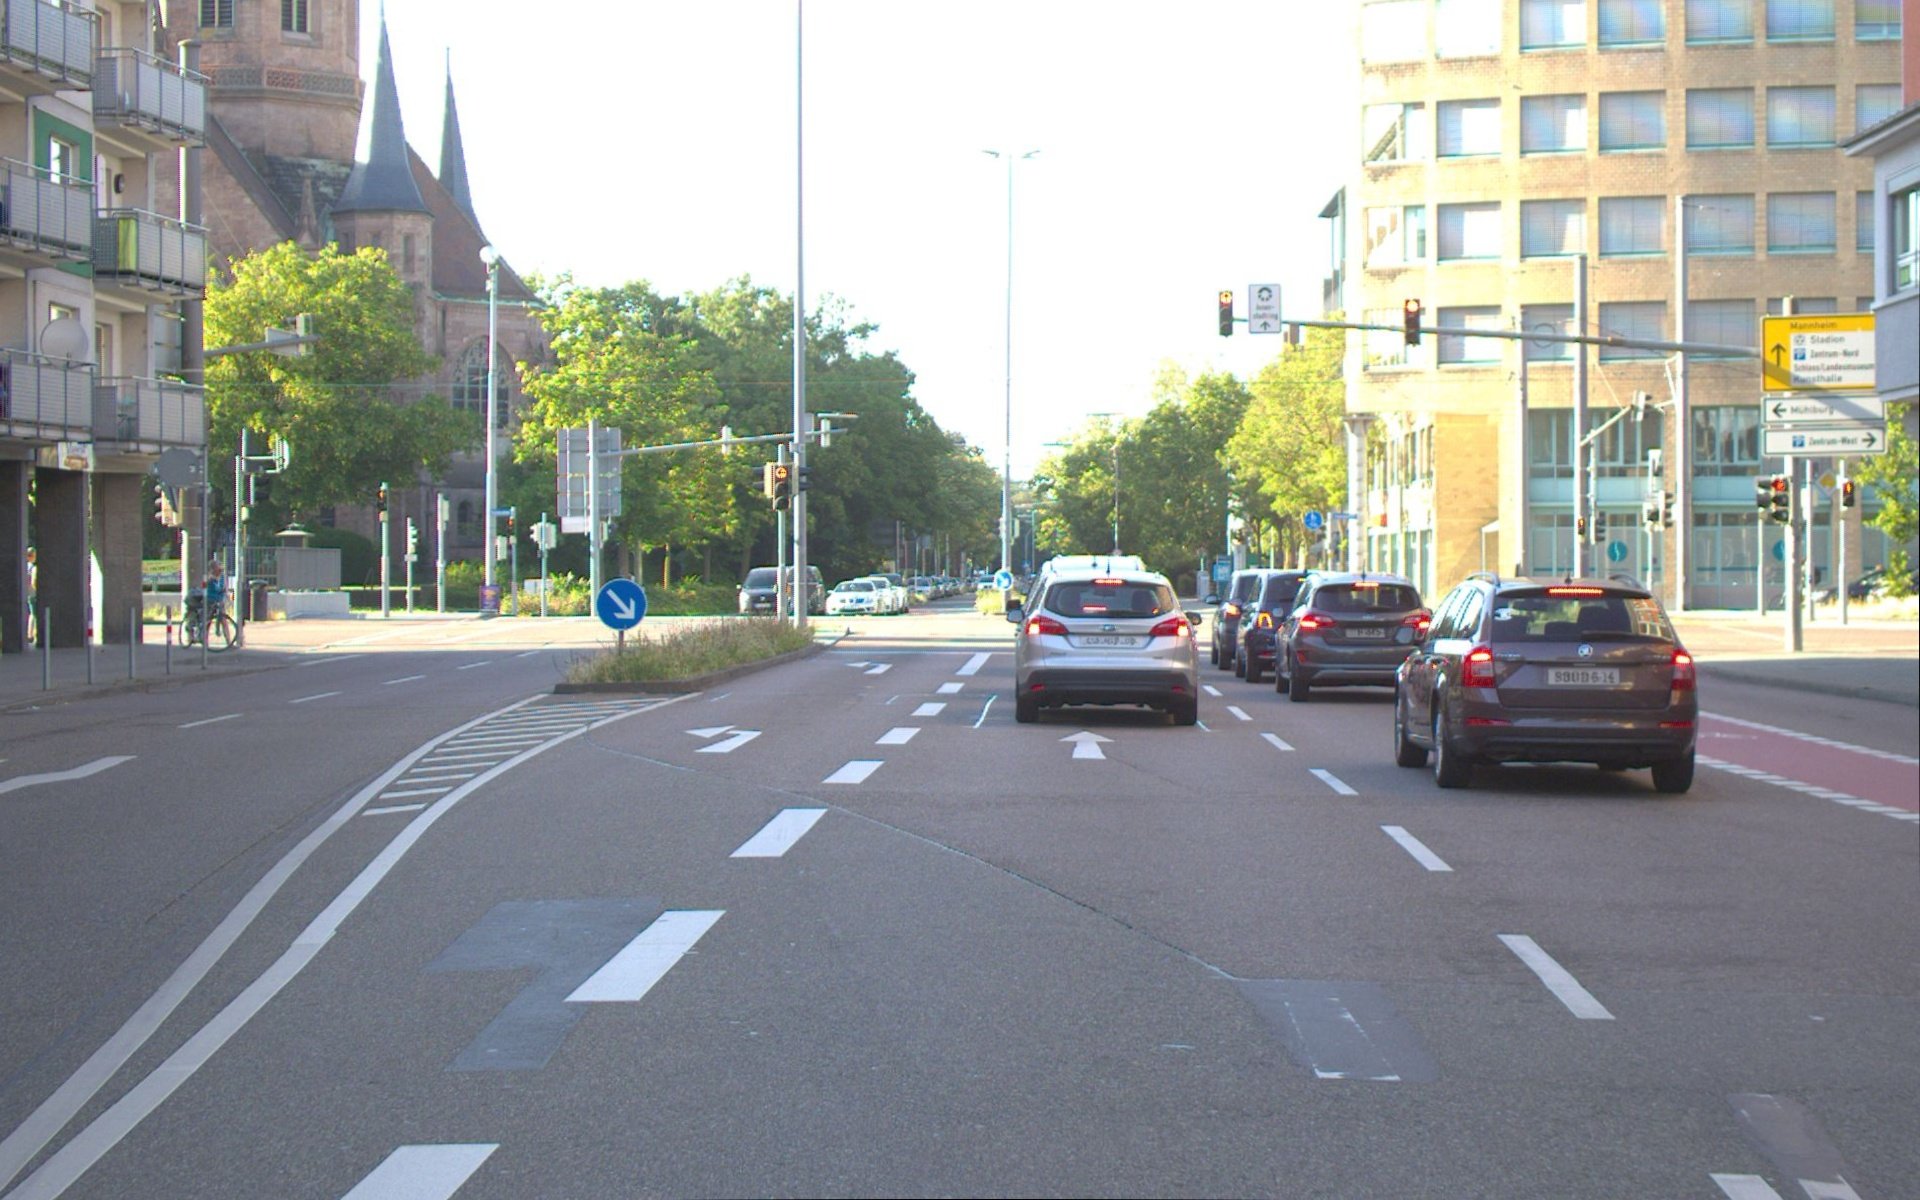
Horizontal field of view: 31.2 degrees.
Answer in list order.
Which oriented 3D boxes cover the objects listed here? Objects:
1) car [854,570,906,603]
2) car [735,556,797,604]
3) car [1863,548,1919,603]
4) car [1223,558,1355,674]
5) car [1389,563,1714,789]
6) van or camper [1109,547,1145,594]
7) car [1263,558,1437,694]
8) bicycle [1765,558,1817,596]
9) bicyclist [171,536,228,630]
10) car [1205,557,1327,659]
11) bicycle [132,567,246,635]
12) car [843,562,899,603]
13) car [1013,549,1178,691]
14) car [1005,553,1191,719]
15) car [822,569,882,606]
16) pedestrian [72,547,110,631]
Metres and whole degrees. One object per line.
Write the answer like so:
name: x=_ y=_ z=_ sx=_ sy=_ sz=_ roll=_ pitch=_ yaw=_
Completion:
car: x=-3.070 y=-0.521 z=132.631 sx=1.780 sy=1.232 sz=4.000 roll=0 pitch=1 yaw=2
car: x=-6.725 y=-0.705 z=119.467 sx=1.780 sy=1.641 sz=4.000 roll=0 pitch=1 yaw=2
car: x=28.673 y=-0.722 z=100.193 sx=4.229 sy=1.609 sz=2.000 roll=0 pitch=1 yaw=4
car: x=4.421 y=0.187 z=46.541 sx=1.489 sy=1.500 sz=3.479 roll=0 pitch=1 yaw=1
car: x=4.121 y=0.474 z=24.523 sx=1.707 sy=1.452 sz=4.158 roll=0 pitch=1 yaw=2
van or camper: x=9.631 y=-1.713 z=198.007 sx=1.994 sy=2.631 sz=5.350 roll=0 pitch=1 yaw=3
car: x=4.536 y=0.267 z=40.485 sx=1.650 sy=1.479 sz=4.239 roll=1 pitch=1 yaw=2
bicycle: x=25.539 y=-0.715 z=105.680 sx=1.520 sy=1.168 sz=0.475 roll=0 pitch=1 yaw=9
bicyclist: x=-13.498 y=-0.304 z=61.029 sx=0.782 sy=1.654 sz=0.900 roll=0 pitch=1 yaw=2
car: x=4.595 y=0.098 z=52.021 sx=1.585 sy=1.442 sz=3.647 roll=1 pitch=1 yaw=2
bicycle: x=-13.526 y=0.019 z=60.338 sx=1.827 sy=1.184 sz=0.734 roll=0 pitch=1 yaw=1
car: x=-3.238 y=-0.652 z=125.367 sx=1.780 sy=1.459 sz=4.000 roll=0 pitch=1 yaw=2
car: x=1.530 y=0.197 z=39.845 sx=1.803 sy=1.563 sz=3.618 roll=0 pitch=1 yaw=1
car: x=1.345 y=0.308 z=34.144 sx=1.707 sy=1.504 sz=4.309 roll=1 pitch=1 yaw=2
car: x=-3.711 y=-0.447 z=118.808 sx=1.780 sy=1.232 sz=4.000 roll=0 pitch=1 yaw=2
pedestrian: x=-16.860 y=-0.216 z=66.695 sx=0.468 sy=1.636 sz=0.576 roll=0 pitch=1 yaw=22
